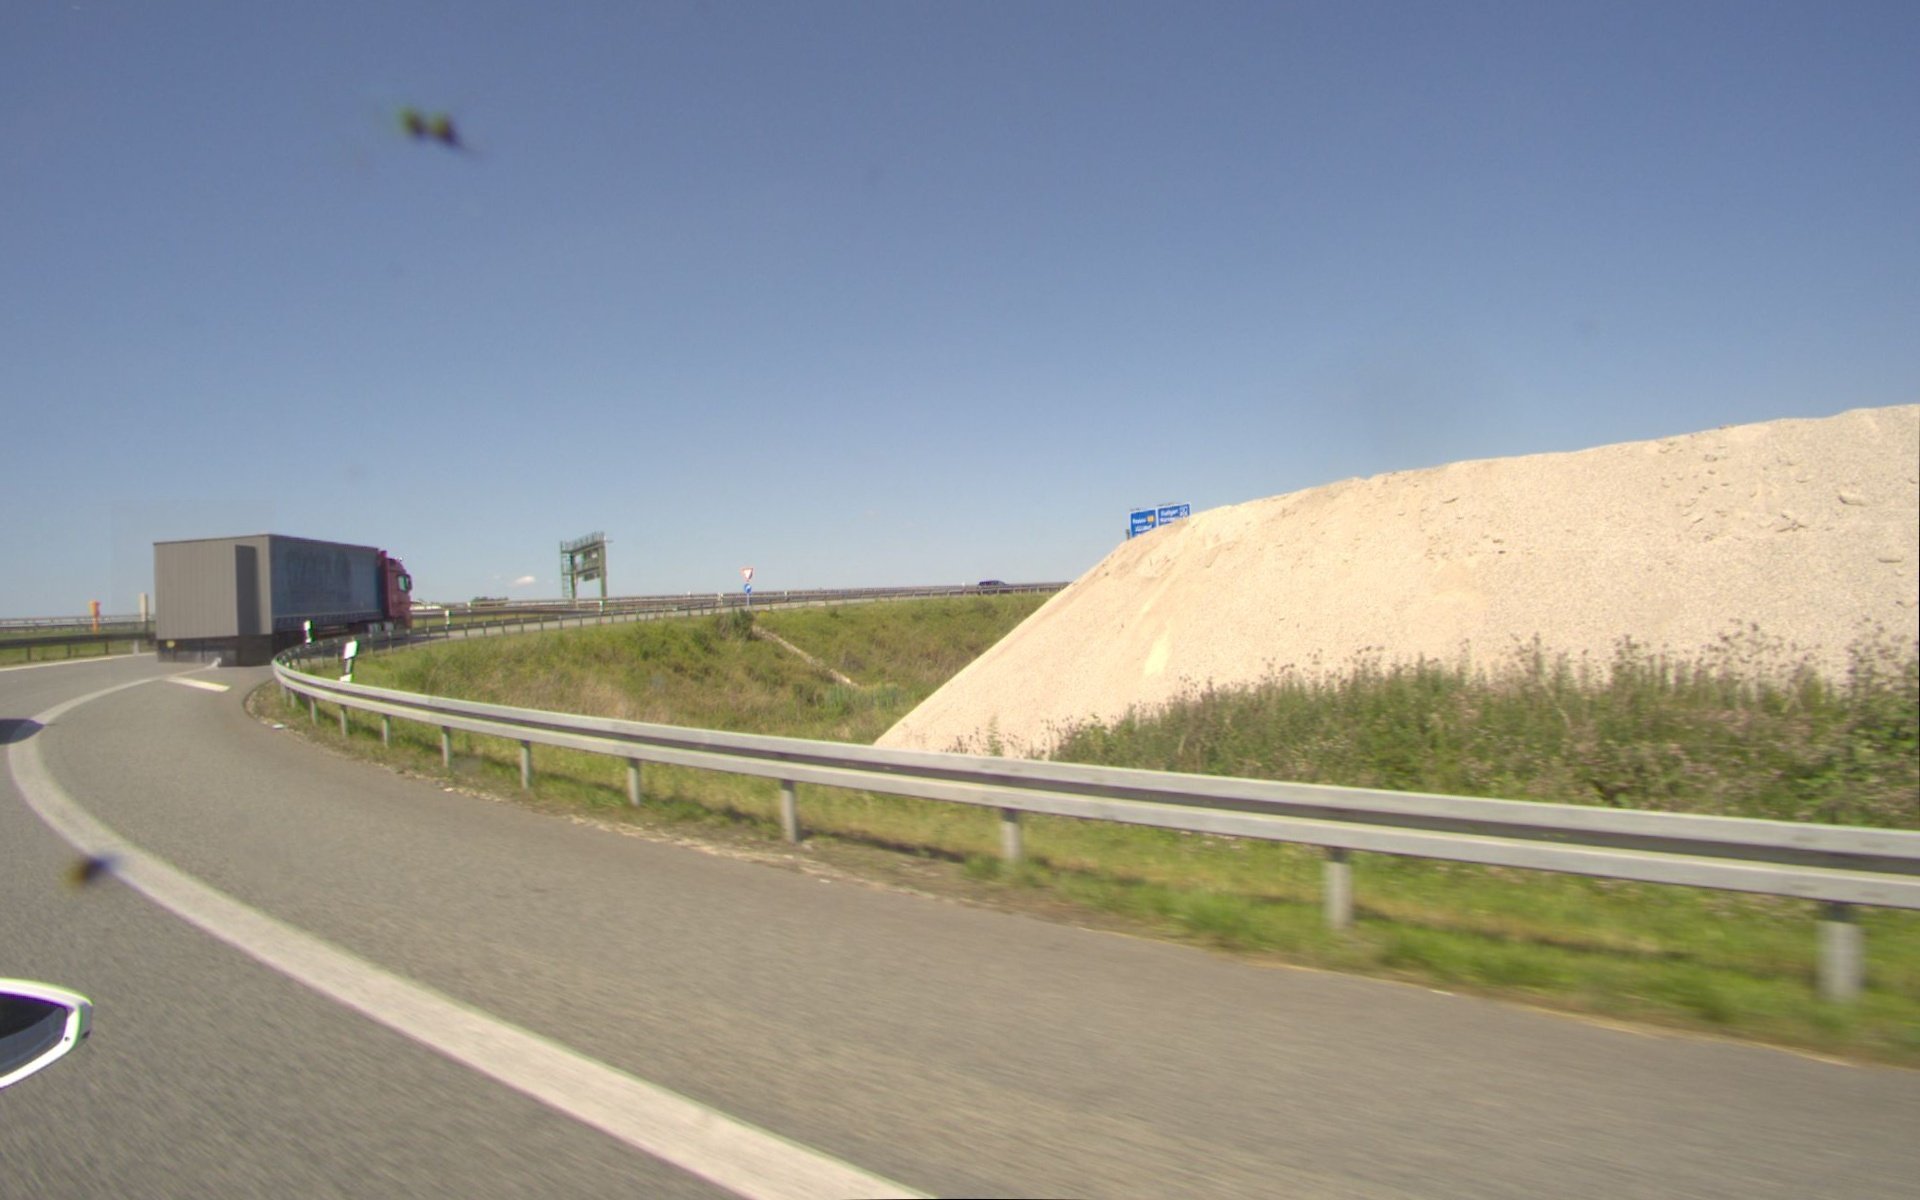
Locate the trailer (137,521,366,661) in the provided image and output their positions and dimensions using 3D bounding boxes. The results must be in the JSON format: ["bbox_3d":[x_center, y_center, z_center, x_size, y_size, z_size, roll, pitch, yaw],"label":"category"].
[{"bbox_3d":[-24.760,-0.300,35.939,2.869,4.201,11.238,-1,0,-15],"label":"trailer"}]

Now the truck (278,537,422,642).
[{"bbox_3d":[-26.450,-0.443,43.844,2.866,4.201,6.920,-1,1,-9],"label":"truck"}]
